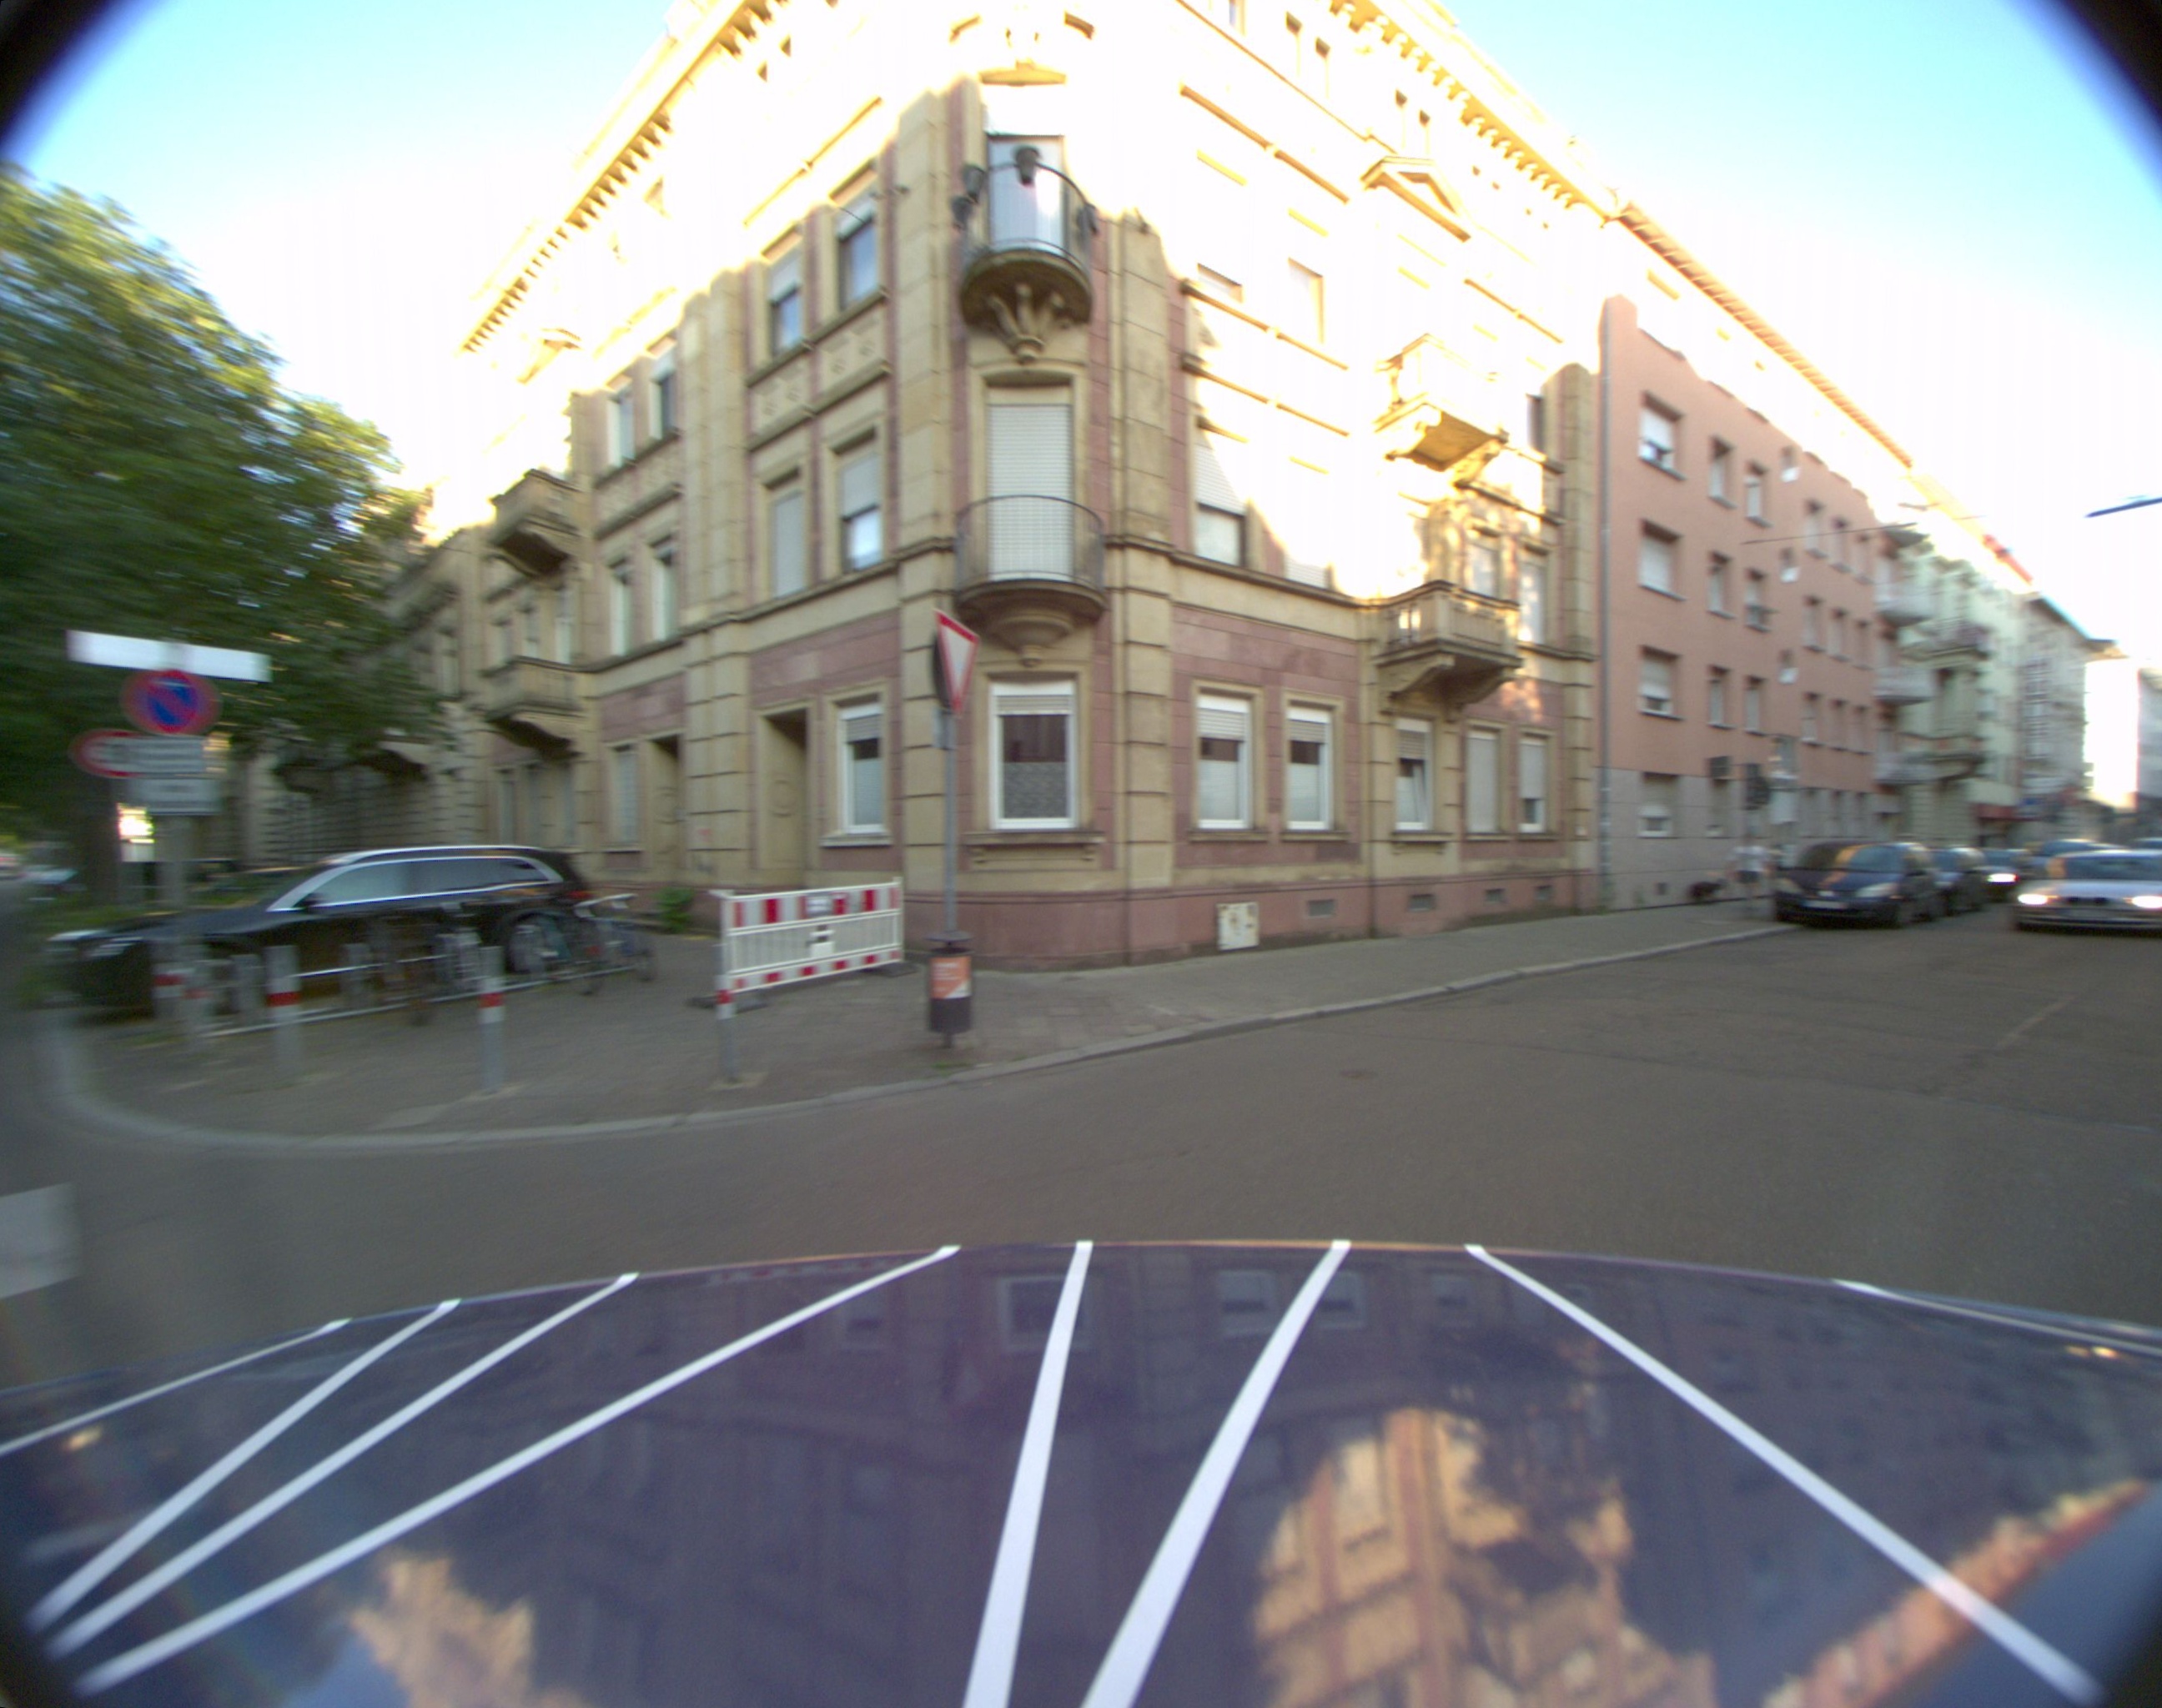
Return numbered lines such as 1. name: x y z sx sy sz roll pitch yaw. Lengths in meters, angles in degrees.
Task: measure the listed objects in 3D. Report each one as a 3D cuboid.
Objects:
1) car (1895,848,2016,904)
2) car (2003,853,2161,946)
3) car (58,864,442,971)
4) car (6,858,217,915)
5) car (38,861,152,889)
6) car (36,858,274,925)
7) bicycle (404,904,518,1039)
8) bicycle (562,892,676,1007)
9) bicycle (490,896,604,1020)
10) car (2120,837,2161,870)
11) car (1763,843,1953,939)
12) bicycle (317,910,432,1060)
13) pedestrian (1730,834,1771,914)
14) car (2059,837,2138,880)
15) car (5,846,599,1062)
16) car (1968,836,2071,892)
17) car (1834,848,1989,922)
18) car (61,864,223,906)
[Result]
1. car: 25.332 0.581 21.988 4.138 1.449 1.691 -1 0 -32
2. car: 18.345 0.720 13.640 4.479 1.395 1.678 -1 -1 -32
3. car: -14.598 0.982 13.647 1.771 1.479 4.455 0 1 37
4. car: -34.002 1.061 26.819 1.771 1.728 4.455 0 1 37
5. car: -64.545 1.351 49.819 1.771 1.638 4.455 0 1 37
6. car: -27.997 1.046 23.155 1.771 1.728 4.455 0 1 37
7. bicycle: -6.153 1.099 7.502 1.864 1.083 0.365 1 4 36
8. bicycle: -5.237 1.022 8.561 1.864 1.083 0.365 1 4 36
9. bicycle: -5.686 1.047 8.048 1.864 1.083 0.365 1 4 36
10. car: 59.988 -0.026 42.402 4.365 1.686 1.837 -1 5 -31
11. car: 15.143 0.620 14.773 4.061 1.615 1.691 -1 0 -31
12. bicycle: -6.424 1.120 6.878 1.864 1.083 0.365 1 4 36
13. pedestrian: 14.784 0.428 16.780 0.569 1.733 0.549 -1 1 -33
14. car: 39.588 0.151 29.554 3.596 1.569 1.571 -1 0 -32
15. car: -8.691 0.861 9.037 1.771 1.729 4.600 1 3 37
16. car: 31.452 0.292 25.445 4.116 1.731 1.691 -1 0 -32
17. car: 19.348 0.633 17.664 4.290 1.505 1.691 -1 0 -32
18. car: -38.051 1.208 30.888 1.771 1.474 4.041 0 1 37
